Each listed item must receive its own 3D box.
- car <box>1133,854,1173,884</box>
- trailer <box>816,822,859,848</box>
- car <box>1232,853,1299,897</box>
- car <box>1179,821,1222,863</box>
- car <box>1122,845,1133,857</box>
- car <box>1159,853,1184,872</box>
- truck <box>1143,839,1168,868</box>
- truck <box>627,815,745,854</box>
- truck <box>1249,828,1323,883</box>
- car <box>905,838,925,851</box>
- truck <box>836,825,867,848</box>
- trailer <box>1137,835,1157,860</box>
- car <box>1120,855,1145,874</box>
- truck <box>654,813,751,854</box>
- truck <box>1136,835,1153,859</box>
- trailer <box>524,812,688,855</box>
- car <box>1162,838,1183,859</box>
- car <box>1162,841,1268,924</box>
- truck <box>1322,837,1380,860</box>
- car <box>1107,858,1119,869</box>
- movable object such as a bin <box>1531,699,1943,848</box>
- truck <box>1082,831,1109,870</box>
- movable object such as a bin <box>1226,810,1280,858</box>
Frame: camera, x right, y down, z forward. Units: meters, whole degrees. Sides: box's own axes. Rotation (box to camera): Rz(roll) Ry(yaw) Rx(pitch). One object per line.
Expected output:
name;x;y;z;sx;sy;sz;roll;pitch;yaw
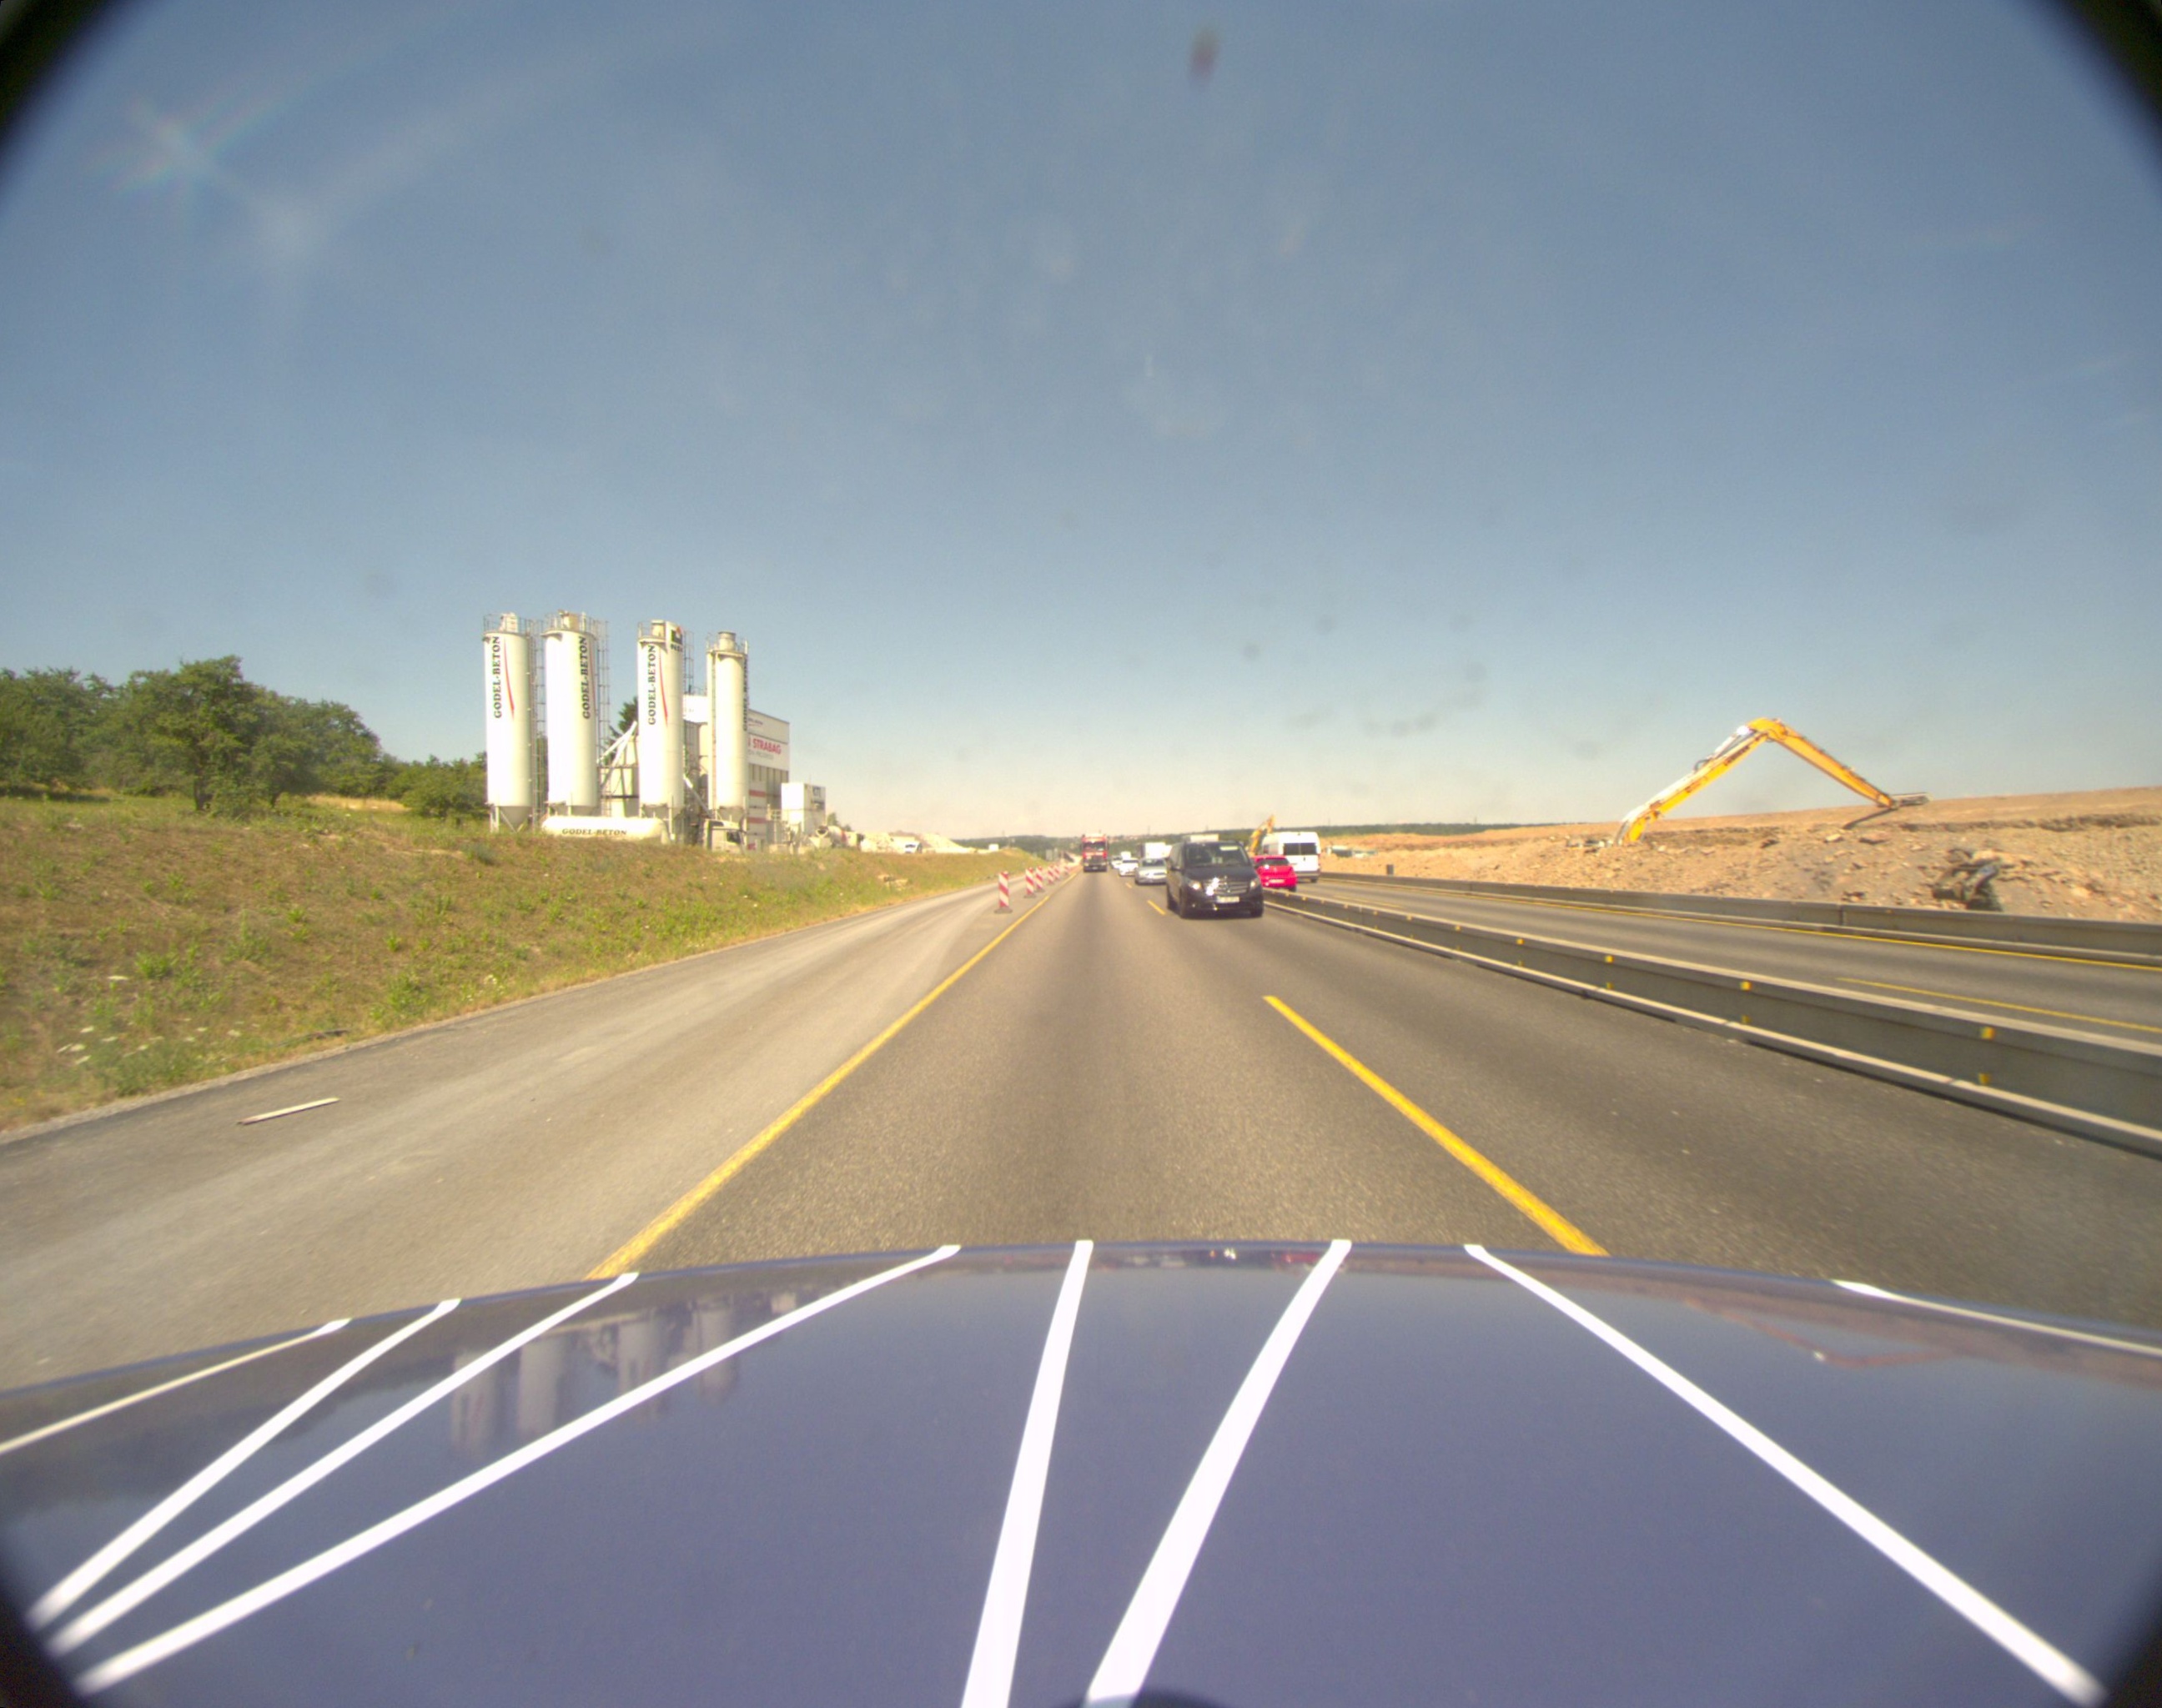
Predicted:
car;3.811;0.785;40.711;1.804;1.499;4.101;-2;0;1
trailer;-26.781;-2.078;83.851;1.998;2.629;6.938;-2;1;4
car;7.037;0.763;29.356;1.631;1.476;4.053;-2;1;1
car;11.276;-1.054;72.555;2.915;3.718;8.091;-2;0;1
car;9.715;-0.650;158.200;2.040;2.329;6.196;-2;0;1
car;8.106;0.741;68.621;1.792;1.473;4.561;-2;1;1
truck;8.695;-0.105;89.205;2.276;3.131;7.313;-2;1;1
truck;-33.758;-1.643;65.023;9.090;2.852;2.460;-2;1;7
truck;10.653;0.127;40.096;2.103;2.554;6.355;-3;-1;0
car;-23.673;-1.291;108.372;1.990;1.752;3.602;-2;1;1
truck;-26.448;-1.995;87.620;2.021;2.530;4.042;-2;1;4
trailer;12.690;-1.237;147.685;2.992;4.569;12.884;-2;1;2
car;4.095;0.798;60.785;1.875;1.390;4.030;-2;1;2
truck;-25.294;-1.394;50.845;5.317;2.530;2.897;-3;1;-35
truck;12.872;-1.385;154.031;2.972;4.625;6.244;-2;1;2
trailer;-30.656;-1.313;49.308;8.919;2.592;2.463;-1;1;-2
car;13.027;-0.777;108.727;2.257;2.938;5.848;-2;1;1
car;3.340;0.660;20.045;1.878;1.840;5.479;-2;0;1
truck;26.599;-0.534;75.331;2.568;2.046;8.803;-2;1;0
car;4.318;1.258;102.384;1.601;1.390;3.695;-2;1;2
movable object such as a bin;33.831;-4.032;39.742;18.265;6.733;3.388;-2;1;1
truck;1.633;-0.379;81.052;2.537;3.798;9.481;-2;1;2
movable object such as a bin;26.951;-3.083;119.542;7.378;7.073;4.081;-2;1;1
